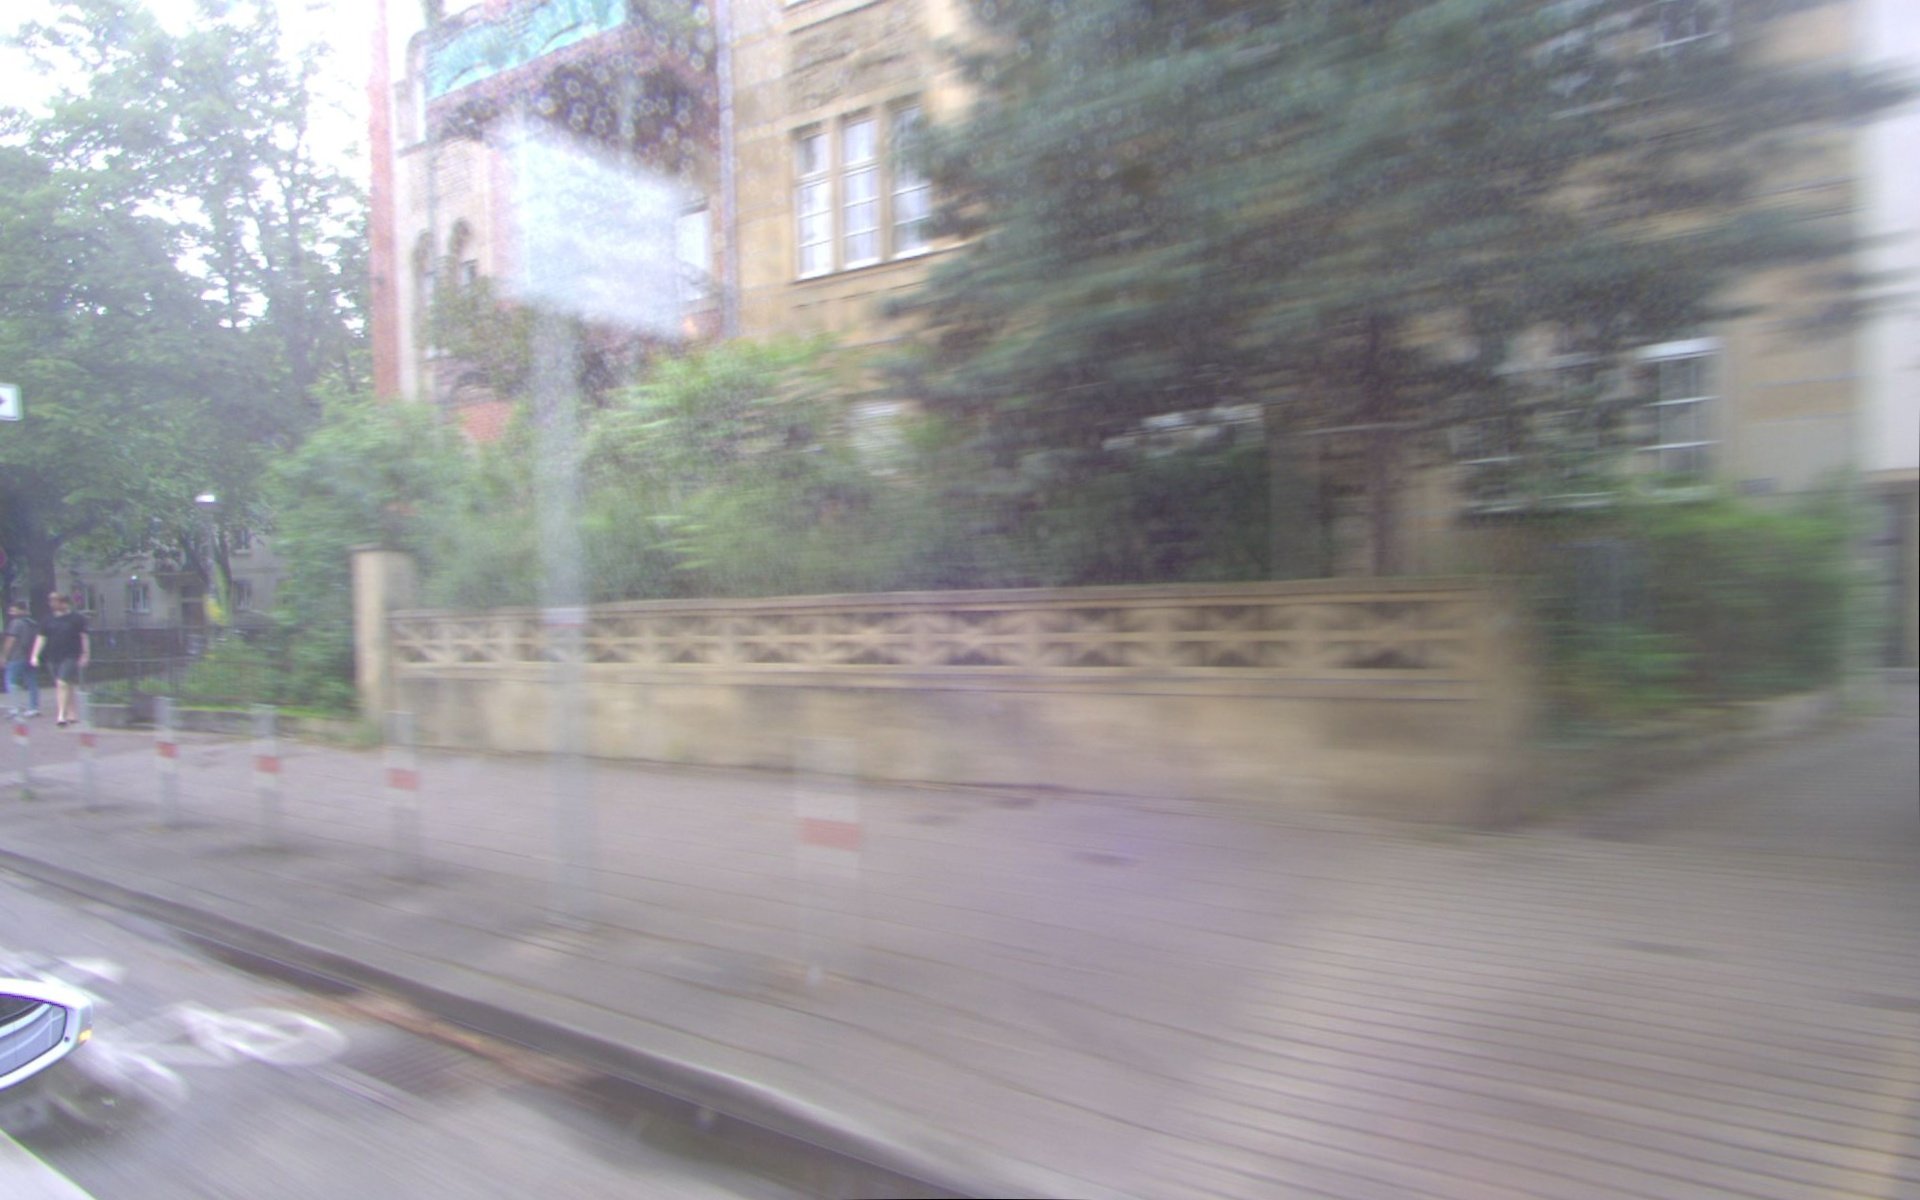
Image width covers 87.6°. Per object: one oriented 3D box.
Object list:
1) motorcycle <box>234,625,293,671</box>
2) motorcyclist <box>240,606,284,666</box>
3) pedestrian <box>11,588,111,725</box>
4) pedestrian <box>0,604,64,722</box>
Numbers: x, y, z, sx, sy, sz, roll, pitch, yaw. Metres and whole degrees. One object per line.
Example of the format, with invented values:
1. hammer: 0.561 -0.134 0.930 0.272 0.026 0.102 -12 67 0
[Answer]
1. motorcycle: -20.512 1.383 29.524 0.439 1.252 1.906 -1 0 -2
2. motorcyclist: -20.505 1.036 29.415 0.691 1.715 0.804 -1 1 -2
3. pedestrian: -12.611 0.778 14.069 0.785 1.855 0.652 -1 1 -13
4. pedestrian: -15.005 0.995 16.123 0.715 1.839 0.631 -1 1 31
